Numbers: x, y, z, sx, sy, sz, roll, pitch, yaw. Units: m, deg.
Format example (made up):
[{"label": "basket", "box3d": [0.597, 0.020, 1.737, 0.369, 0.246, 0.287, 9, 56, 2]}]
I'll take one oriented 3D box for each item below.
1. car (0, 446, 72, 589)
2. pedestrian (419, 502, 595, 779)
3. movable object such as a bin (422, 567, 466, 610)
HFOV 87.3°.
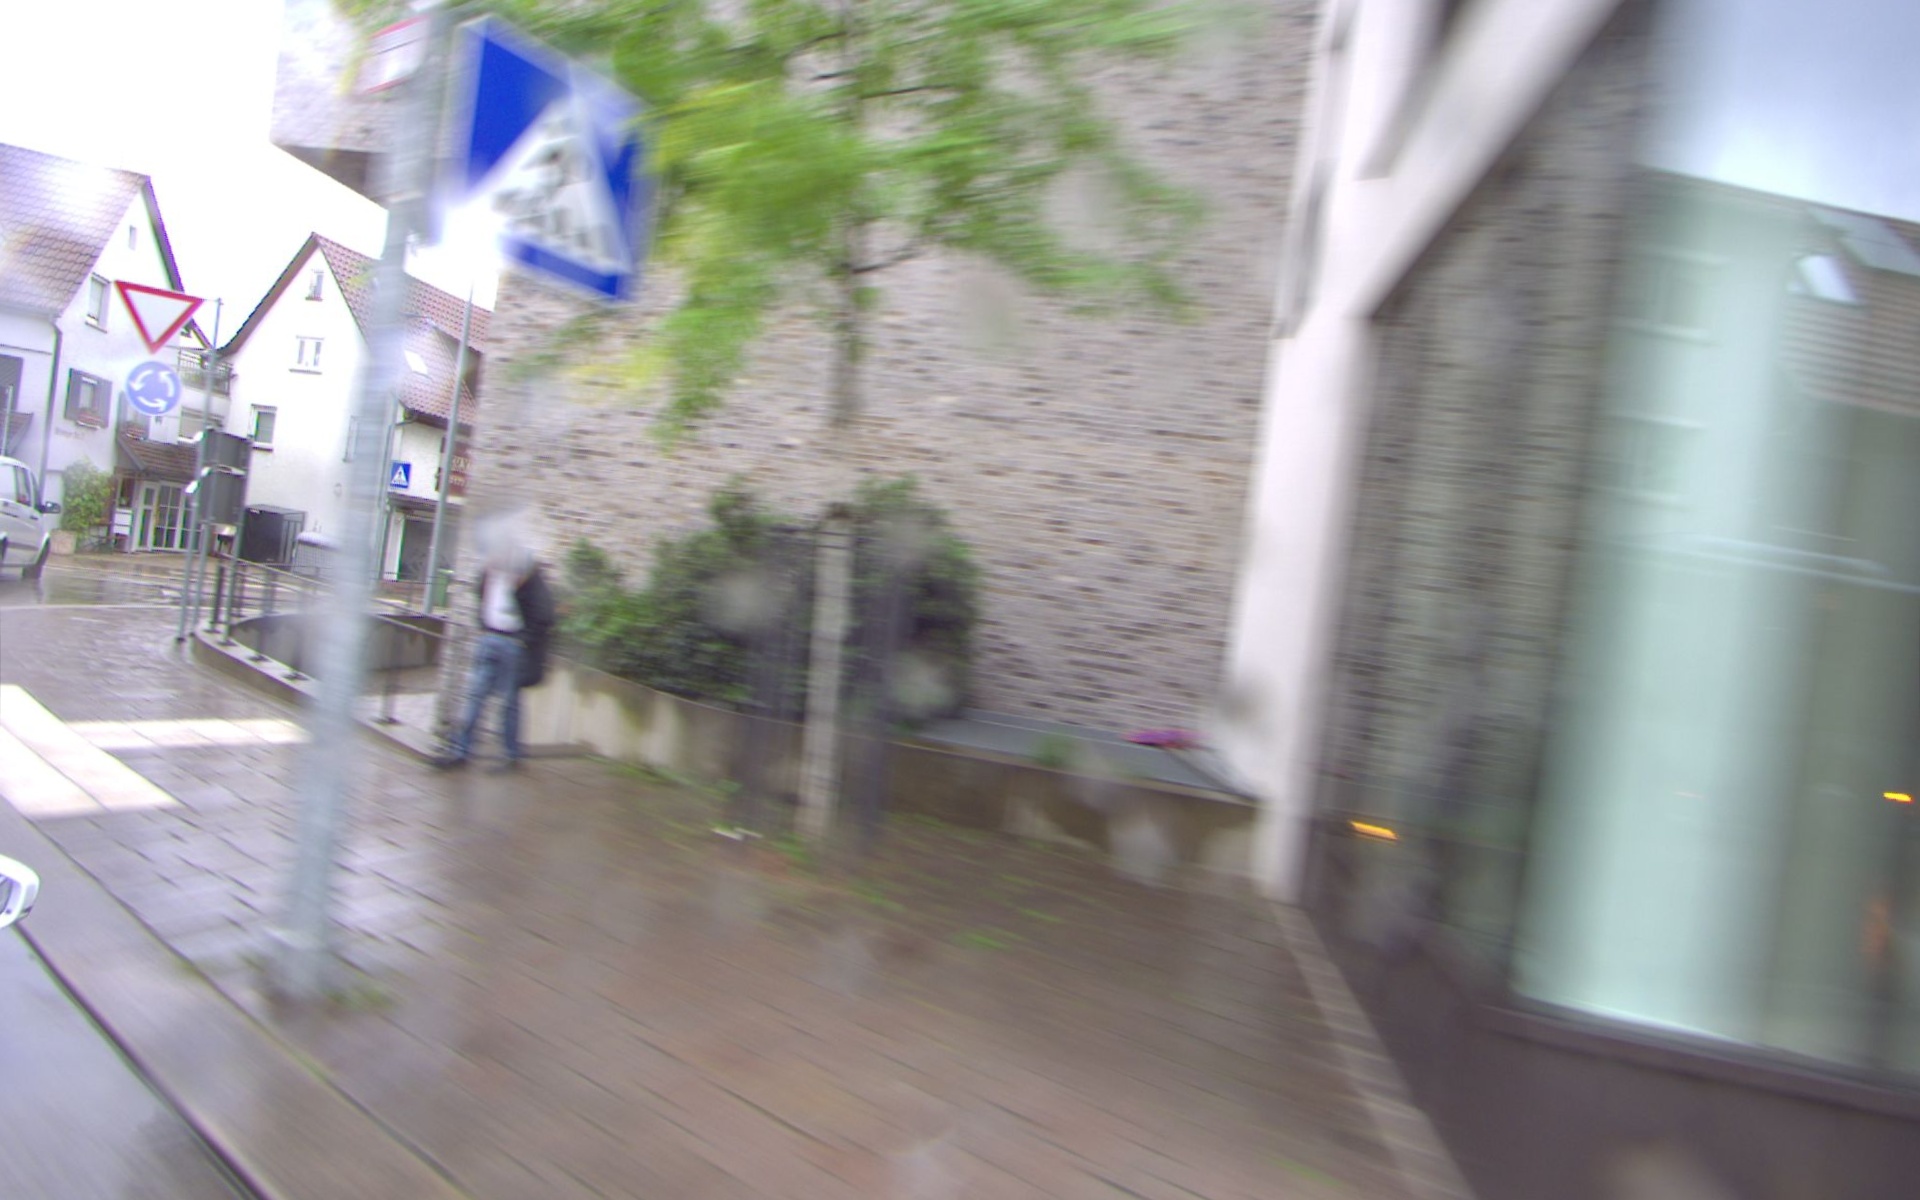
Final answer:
[{"label": "car", "box3d": [-14.960, -1.297, 14.690, 2.139, 1.921, 4.883, 7, -2, -33]}, {"label": "pedestrian", "box3d": [-2.887, 0.245, 6.435, 0.691, 1.626, 0.584, 7, 2, 21]}, {"label": "movable object such as a bin", "box3d": [-15.278, -0.326, 29.792, 0.676, 1.093, 0.762, 10, -1, 11]}]
